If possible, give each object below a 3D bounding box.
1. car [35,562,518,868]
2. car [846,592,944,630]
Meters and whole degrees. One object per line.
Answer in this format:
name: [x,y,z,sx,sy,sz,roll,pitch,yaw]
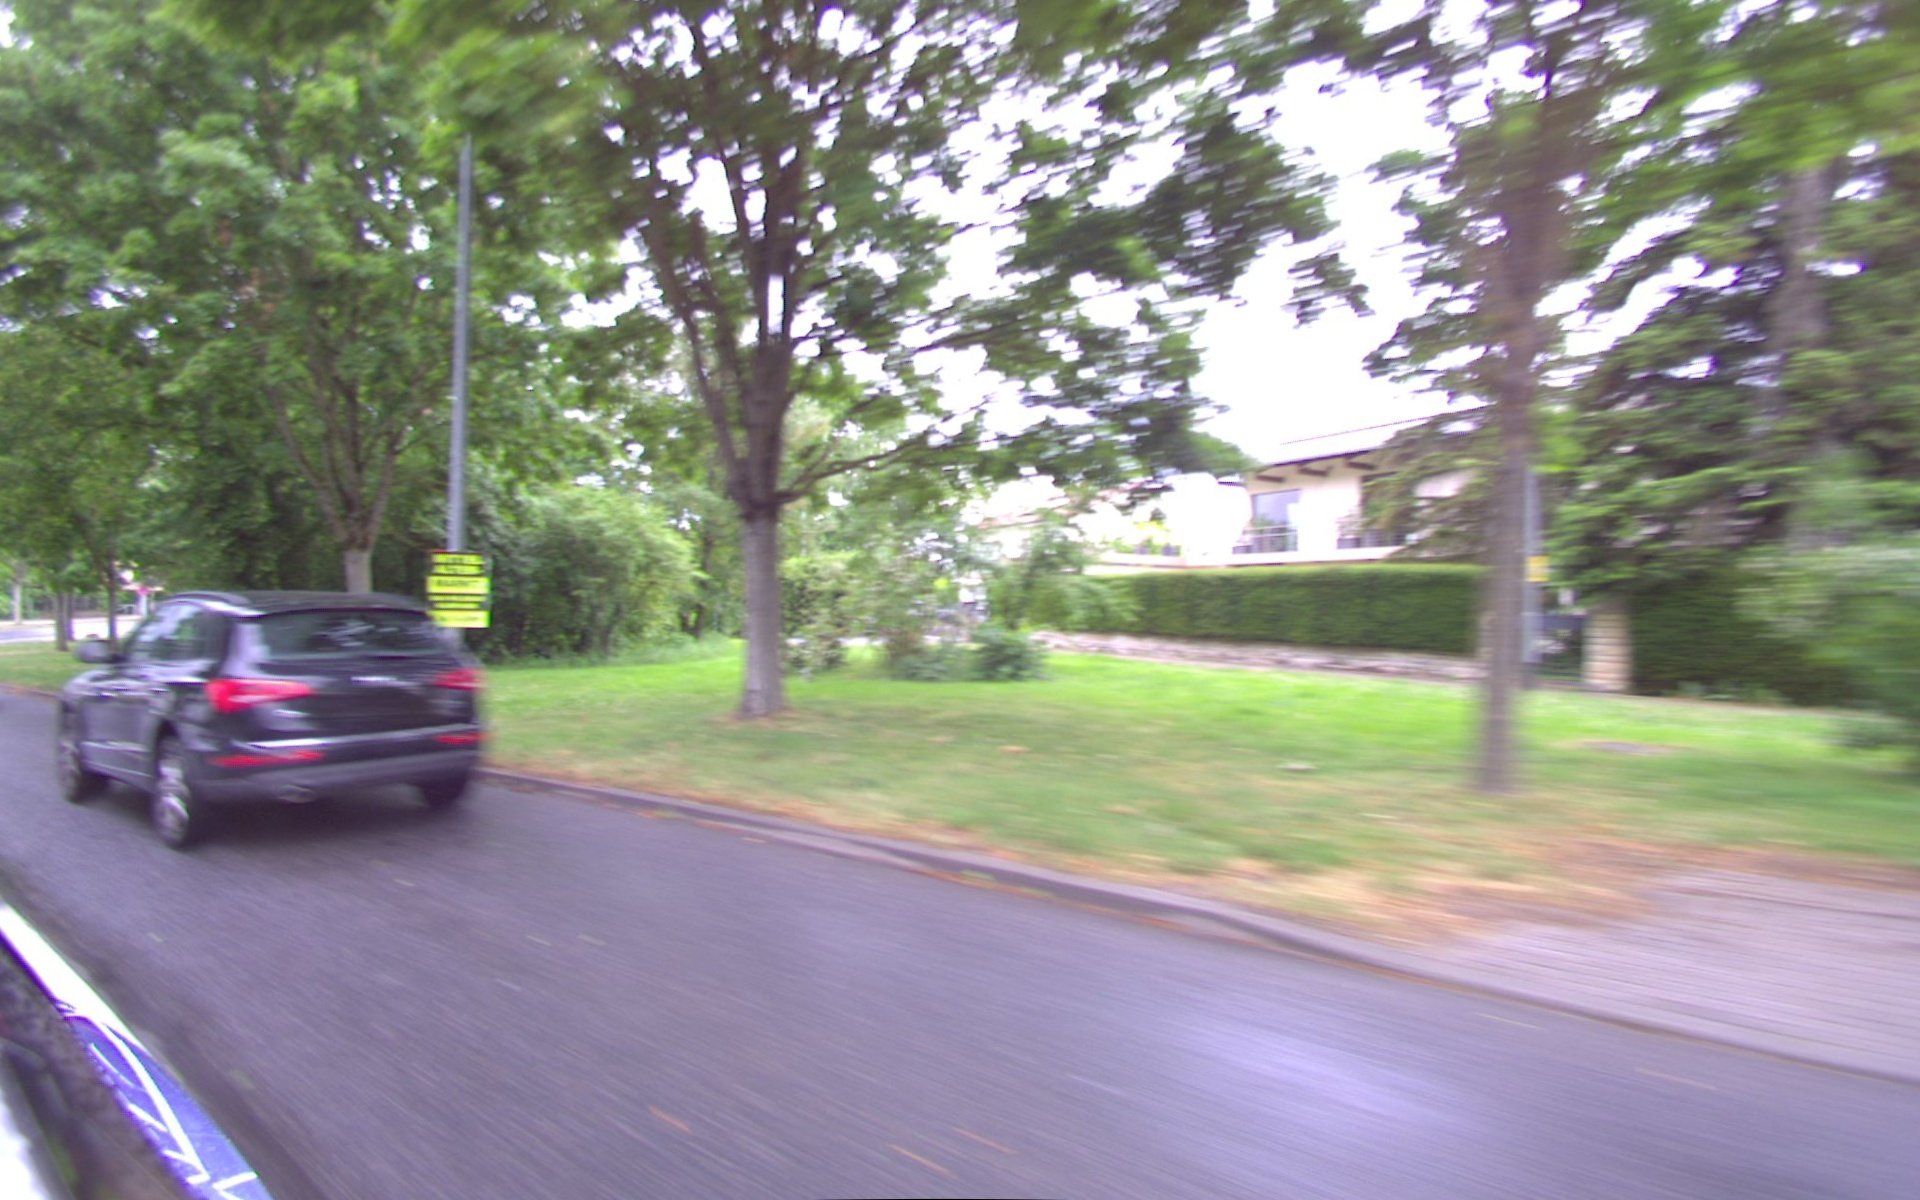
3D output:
car: [-5.379,0.691,7.737,4.399,1.704,1.834,-2,-1,38]
car: [-2.633,0.422,41.069,3.538,1.386,1.803,-1,1,-23]
